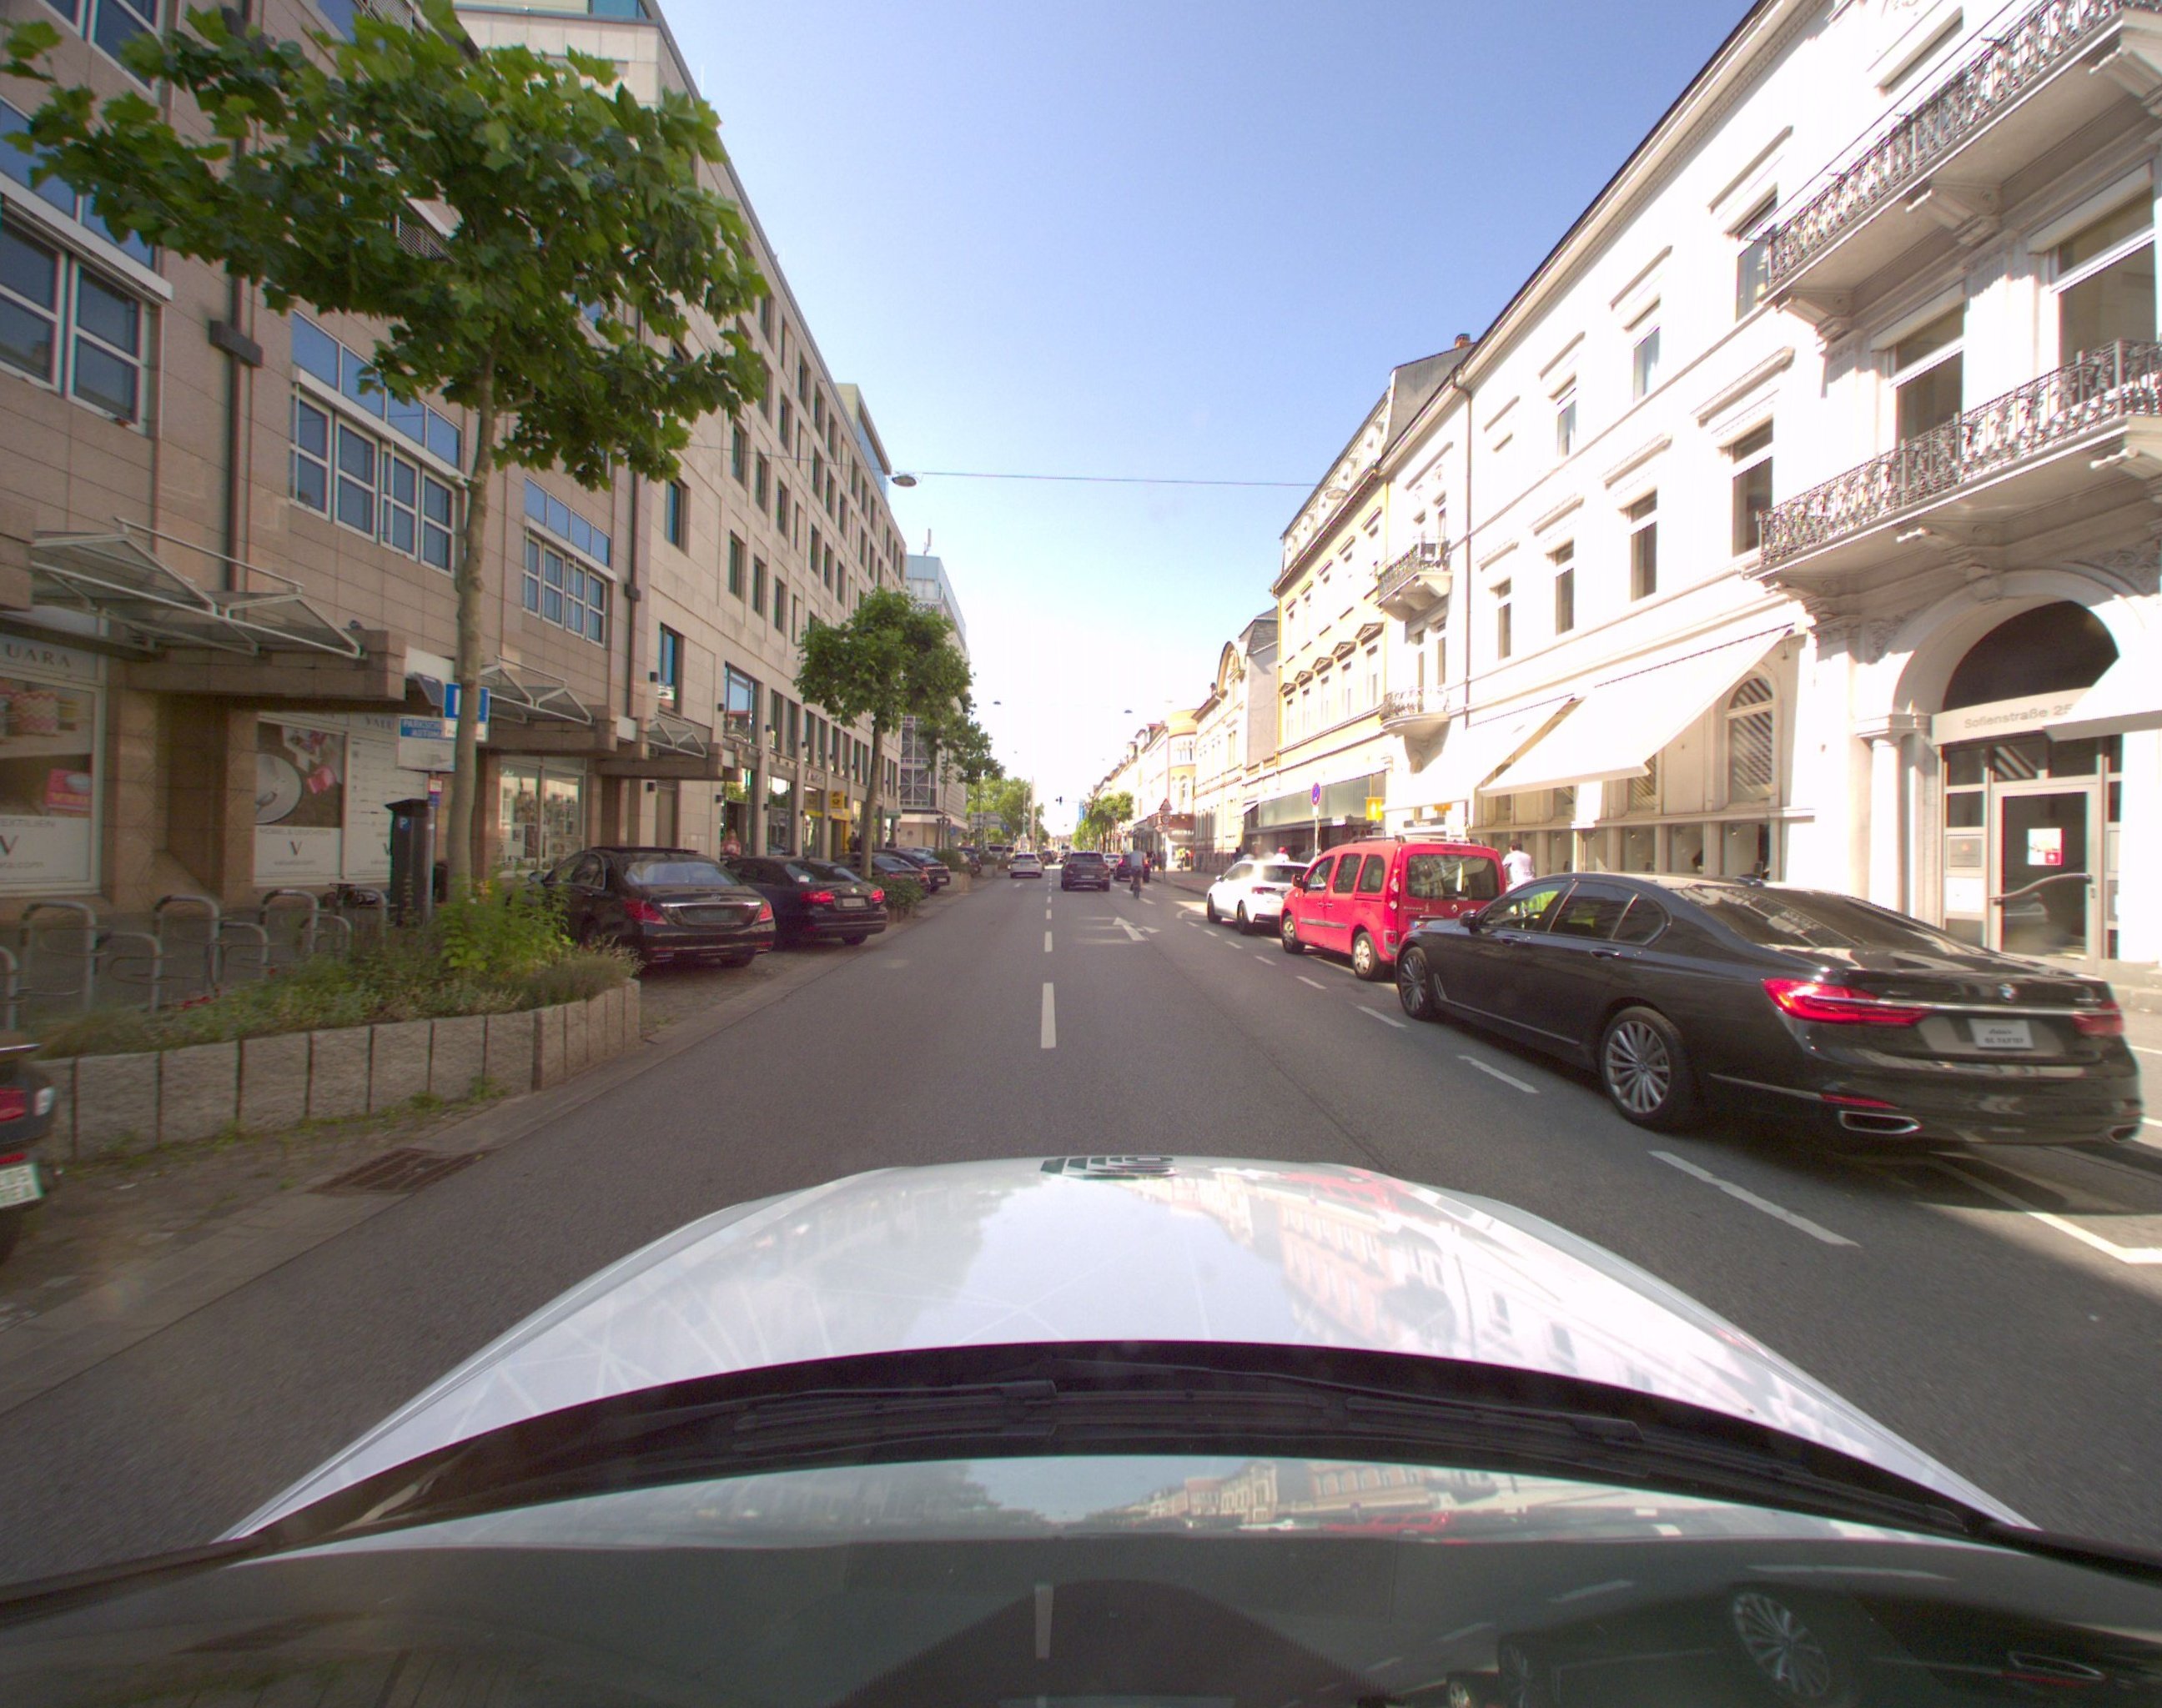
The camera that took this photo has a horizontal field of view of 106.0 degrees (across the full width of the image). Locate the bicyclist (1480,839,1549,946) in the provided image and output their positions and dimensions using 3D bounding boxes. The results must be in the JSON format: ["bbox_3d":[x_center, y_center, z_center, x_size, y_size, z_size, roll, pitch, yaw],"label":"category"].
[{"bbox_3d":[7.435,0.634,14.008,0.645,1.769,1.012,1,0,-1],"label":"bicyclist"}]

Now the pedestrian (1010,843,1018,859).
[{"bbox_3d":[-6.761,-0.285,82.122,0.616,1.615,0.545,2,-2,-32],"label":"pedestrian"}]

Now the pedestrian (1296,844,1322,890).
[{"bbox_3d":[8.635,0.488,30.907,0.872,1.718,0.838,0,0,11],"label":"pedestrian"}]

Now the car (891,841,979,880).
[{"bbox_3d":[-7.471,0.334,41.651,3.953,1.568,1.709,6,0,23],"label":"car"}]

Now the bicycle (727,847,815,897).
[{"bbox_3d":[-8.236,0.477,21.736,2.070,1.219,0.755,4,-1,-19],"label":"bicycle"}]

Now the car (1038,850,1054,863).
[{"bbox_3d":[-4.095,0.291,95.639,1.739,1.441,3.996,1,0,-3],"label":"car"}]

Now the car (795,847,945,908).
[{"bbox_3d":[-6.183,0.617,23.582,4.593,1.408,1.918,3,1,41],"label":"car"}]

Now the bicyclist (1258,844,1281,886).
[{"bbox_3d":[7.246,0.413,31.346,0.656,1.595,0.920,1,0,0],"label":"bicyclist"}]

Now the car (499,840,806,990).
[{"bbox_3d":[-5.928,0.641,10.999,4.697,1.533,2.003,2,0,40],"label":"car"}]

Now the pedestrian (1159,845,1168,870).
[{"bbox_3d":[6.242,0.261,61.594,0.649,1.809,0.729,1,0,1],"label":"pedestrian"}]

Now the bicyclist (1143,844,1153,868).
[{"bbox_3d":[4.818,0.168,58.601,0.692,1.674,0.835,1,-3,-1],"label":"bicyclist"}]

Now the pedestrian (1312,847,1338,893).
[{"bbox_3d":[9.063,0.594,30.259,0.645,1.684,0.944,1,0,-1],"label":"pedestrian"}]

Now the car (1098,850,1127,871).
[{"bbox_3d":[2.200,0.408,57.526,1.817,1.385,3.998,1,1,-1],"label":"car"}]

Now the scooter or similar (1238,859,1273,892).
[{"bbox_3d":[6.223,0.764,29.112,0.868,1.122,1.620,0,0,0],"label":"scooter or similar"}]

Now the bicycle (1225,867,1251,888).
[{"bbox_3d":[6.944,1.041,36.141,0.738,0.879,2.137,1,0,0],"label":"bicycle"}]

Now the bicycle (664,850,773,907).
[{"bbox_3d":[-8.024,0.542,18.087,2.059,1.130,0.617,3,-1,-2],"label":"bicycle"}]

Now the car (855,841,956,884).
[{"bbox_3d":[-7.540,0.370,35.253,3.982,1.500,1.714,5,0,-6],"label":"car"}]

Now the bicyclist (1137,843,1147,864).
[{"bbox_3d":[5.040,-0.083,67.284,0.692,1.673,0.835,3,2,-2],"label":"bicyclist"}]

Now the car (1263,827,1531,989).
[{"bbox_3d":[4.267,0.635,11.856,1.825,1.863,4.346,3,0,-6],"label":"car"}]

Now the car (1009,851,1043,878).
[{"bbox_3d":[-3.105,0.568,46.808,1.859,1.441,3.995,0,0,-3],"label":"car"}]

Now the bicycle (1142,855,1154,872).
[{"bbox_3d":[4.856,0.676,58.892,0.553,1.120,2.242,3,1,-2],"label":"bicycle"}]

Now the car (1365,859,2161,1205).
[{"bbox_3d":[4.108,0.831,6.308,1.854,1.470,5.222,3,0,-1],"label":"car"}]

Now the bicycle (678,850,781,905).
[{"bbox_3d":[-8.117,0.542,18.848,2.065,1.130,0.462,4,-1,-10],"label":"bicycle"}]

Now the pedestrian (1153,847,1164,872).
[{"bbox_3d":[6.084,0.413,63.931,0.706,1.899,1.153,1,0,1],"label":"pedestrian"}]

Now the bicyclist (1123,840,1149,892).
[{"bbox_3d":[1.859,0.394,27.592,0.692,1.673,0.915,3,1,-1],"label":"bicyclist"}]

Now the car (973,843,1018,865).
[{"bbox_3d":[-9.323,-0.019,88.772,4.664,2.003,1.953,4,-1,38],"label":"car"}]

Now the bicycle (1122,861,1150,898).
[{"bbox_3d":[1.852,0.847,27.678,0.663,1.120,2.242,3,1,-2],"label":"bicycle"}]

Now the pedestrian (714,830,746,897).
[{"bbox_3d":[-8.801,0.231,20.427,0.565,1.657,0.634,1,0,-9],"label":"pedestrian"}]

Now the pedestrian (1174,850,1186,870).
[{"bbox_3d":[8.255,0.508,68.004,0.790,1.720,0.728,0,0,-7],"label":"pedestrian"}]

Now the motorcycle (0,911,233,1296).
[{"bbox_3d":[-4.458,0.876,3.213,1.895,1.170,0.764,2,0,18],"label":"motorcycle"}]

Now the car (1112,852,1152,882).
[{"bbox_3d":[2.713,0.674,43.614,1.817,1.409,3.185,3,1,-1],"label":"car"}]

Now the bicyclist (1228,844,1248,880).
[{"bbox_3d":[6.956,0.354,36.181,0.707,1.595,0.963,1,0,0],"label":"bicyclist"}]

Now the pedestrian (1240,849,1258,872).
[{"bbox_3d":[9.435,0.340,45.792,0.932,1.268,0.568,-2,0,4],"label":"pedestrian"}]

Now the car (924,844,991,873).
[{"bbox_3d":[-7.860,0.286,51.957,3.979,1.500,1.715,5,0,-4],"label":"car"}]

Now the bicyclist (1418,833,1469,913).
[{"bbox_3d":[7.932,0.405,17.867,0.645,1.684,1.012,1,0,-1],"label":"bicyclist"}]

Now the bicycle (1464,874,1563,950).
[{"bbox_3d":[7.352,0.941,13.963,0.553,1.120,2.071,-1,1,-2],"label":"bicycle"}]

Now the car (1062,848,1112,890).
[{"bbox_3d":[0.175,0.560,32.264,1.828,1.527,3.997,0,0,-2],"label":"car"}]

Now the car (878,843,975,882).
[{"bbox_3d":[-7.229,0.396,38.133,3.958,1.490,1.790,5,0,15],"label":"car"}]

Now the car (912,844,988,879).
[{"bbox_3d":[-7.233,0.402,44.932,3.950,1.459,1.680,6,0,35],"label":"car"}]

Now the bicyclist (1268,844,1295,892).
[{"bbox_3d":[6.367,0.435,25.920,0.623,1.476,0.889,1,0,0],"label":"bicyclist"}]

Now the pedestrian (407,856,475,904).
[{"bbox_3d":[-11.817,0.466,15.061,0.564,0.809,0.773,6,0,-2],"label":"pedestrian"}]

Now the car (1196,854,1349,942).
[{"bbox_3d":[3.865,0.813,17.296,1.810,1.466,4.573,3,1,-5],"label":"car"}]

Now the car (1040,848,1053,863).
[{"bbox_3d":[-5.117,0.209,121.416,1.859,2.030,3.995,1,-1,-3],"label":"car"}]

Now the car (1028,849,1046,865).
[{"bbox_3d":[-4.227,0.285,78.931,1.739,1.441,3.996,1,0,-3],"label":"car"}]

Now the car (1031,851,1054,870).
[{"bbox_3d":[-2.988,0.476,63.788,1.739,1.441,3.996,1,0,-3],"label":"car"}]

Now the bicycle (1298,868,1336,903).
[{"bbox_3d":[7.367,0.957,25.521,0.562,0.996,2.102,1,0,0],"label":"bicycle"}]

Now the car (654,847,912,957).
[{"bbox_3d":[-5.221,0.701,13.966,4.736,1.422,1.895,3,1,38],"label":"car"}]

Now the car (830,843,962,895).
[{"bbox_3d":[-6.563,0.494,28.817,4.301,1.513,1.844,4,0,28],"label":"car"}]

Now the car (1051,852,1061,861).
[{"bbox_3d":[-4.730,0.530,154.772,1.859,1.441,3.995,-4,-2,-3],"label":"car"}]

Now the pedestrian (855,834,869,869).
[{"bbox_3d":[-12.912,-0.157,48.114,0.622,2.013,0.700,0,0,-1],"label":"pedestrian"}]

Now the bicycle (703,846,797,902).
[{"bbox_3d":[-8.224,0.499,20.286,2.065,1.288,0.366,4,-1,-10],"label":"bicycle"}]

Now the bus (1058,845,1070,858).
[{"bbox_3d":[-4.646,-0.696,219.238,2.766,3.605,8.957,1,0,-5],"label":"bus"}]

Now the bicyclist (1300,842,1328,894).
[{"bbox_3d":[7.349,0.441,25.712,0.580,1.595,0.920,1,0,0],"label":"bicyclist"}]

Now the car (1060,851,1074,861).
[{"bbox_3d":[-2.097,0.216,120.823,1.858,1.441,3.996,1,0,-3],"label":"car"}]

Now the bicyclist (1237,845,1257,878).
[{"bbox_3d":[6.211,0.279,30.510,0.621,1.248,0.607,1,0,-1],"label":"bicyclist"}]
